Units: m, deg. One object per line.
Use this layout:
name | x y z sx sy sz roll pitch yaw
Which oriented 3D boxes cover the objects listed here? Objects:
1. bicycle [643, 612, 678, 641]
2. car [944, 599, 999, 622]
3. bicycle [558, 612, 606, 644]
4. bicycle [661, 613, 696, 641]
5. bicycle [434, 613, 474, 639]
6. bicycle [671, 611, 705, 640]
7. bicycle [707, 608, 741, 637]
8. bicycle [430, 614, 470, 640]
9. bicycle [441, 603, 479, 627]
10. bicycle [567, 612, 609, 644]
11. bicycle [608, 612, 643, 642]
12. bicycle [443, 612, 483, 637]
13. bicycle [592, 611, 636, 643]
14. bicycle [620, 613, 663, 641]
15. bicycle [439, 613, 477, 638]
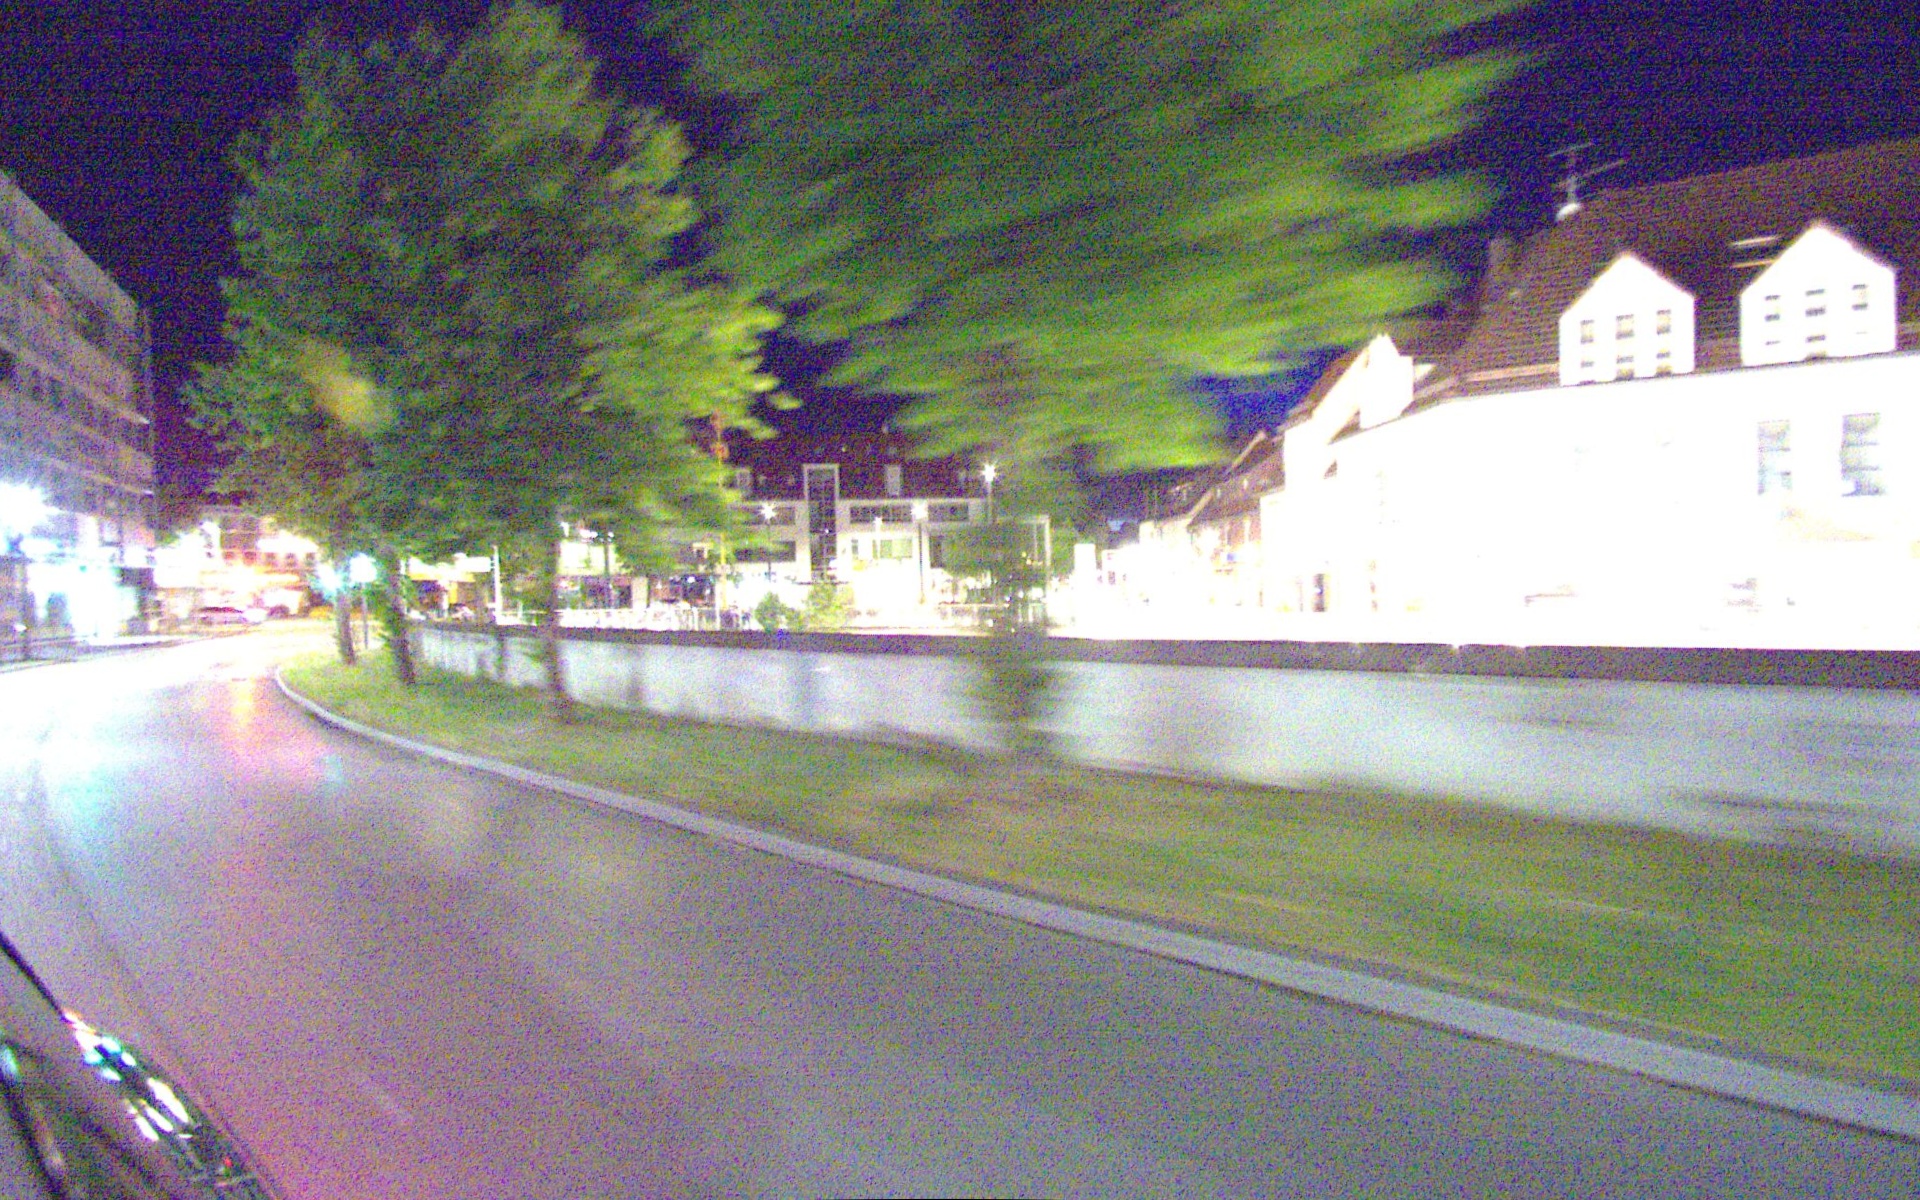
bicycle | -12.051 1.066 40.676 0.600 1.133 1.748 0 -2 -44
car | 0.978 0.915 87.071 4.345 1.951 1.965 -1 -1 -12
bicycle | -13.970 1.040 37.363 1.741 1.171 0.753 -2 -1 32
bicycle | -11.477 1.089 41.255 0.600 1.109 1.748 0 -2 -44
bicycle | -23.531 1.202 47.082 1.593 1.114 0.672 -2 1 -27
bicycle | -11.322 1.072 42.117 0.600 1.174 1.748 0 -2 -44
bicycle | -10.199 0.977 43.671 0.600 1.228 1.748 0 -2 -44
bicycle | -23.084 1.212 45.842 1.593 1.114 0.672 -2 1 -27
bicycle | -27.548 0.818 55.779 1.710 1.175 0.789 -4 1 -21
bicycle | -14.056 1.060 38.238 1.741 1.163 0.539 -2 -1 32
bicycle | -13.030 1.054 39.438 0.600 1.174 1.748 0 -2 -43
bicycle | -24.457 1.193 49.781 1.744 1.173 0.672 -1 0 -27
bicycle | -13.073 1.036 38.197 1.741 1.174 0.602 -2 -1 32
bicycle | -12.622 1.067 40.071 1.739 1.078 0.603 -2 -1 28
bicycle | -23.717 1.193 47.833 1.593 1.114 0.672 -1 1 -27
